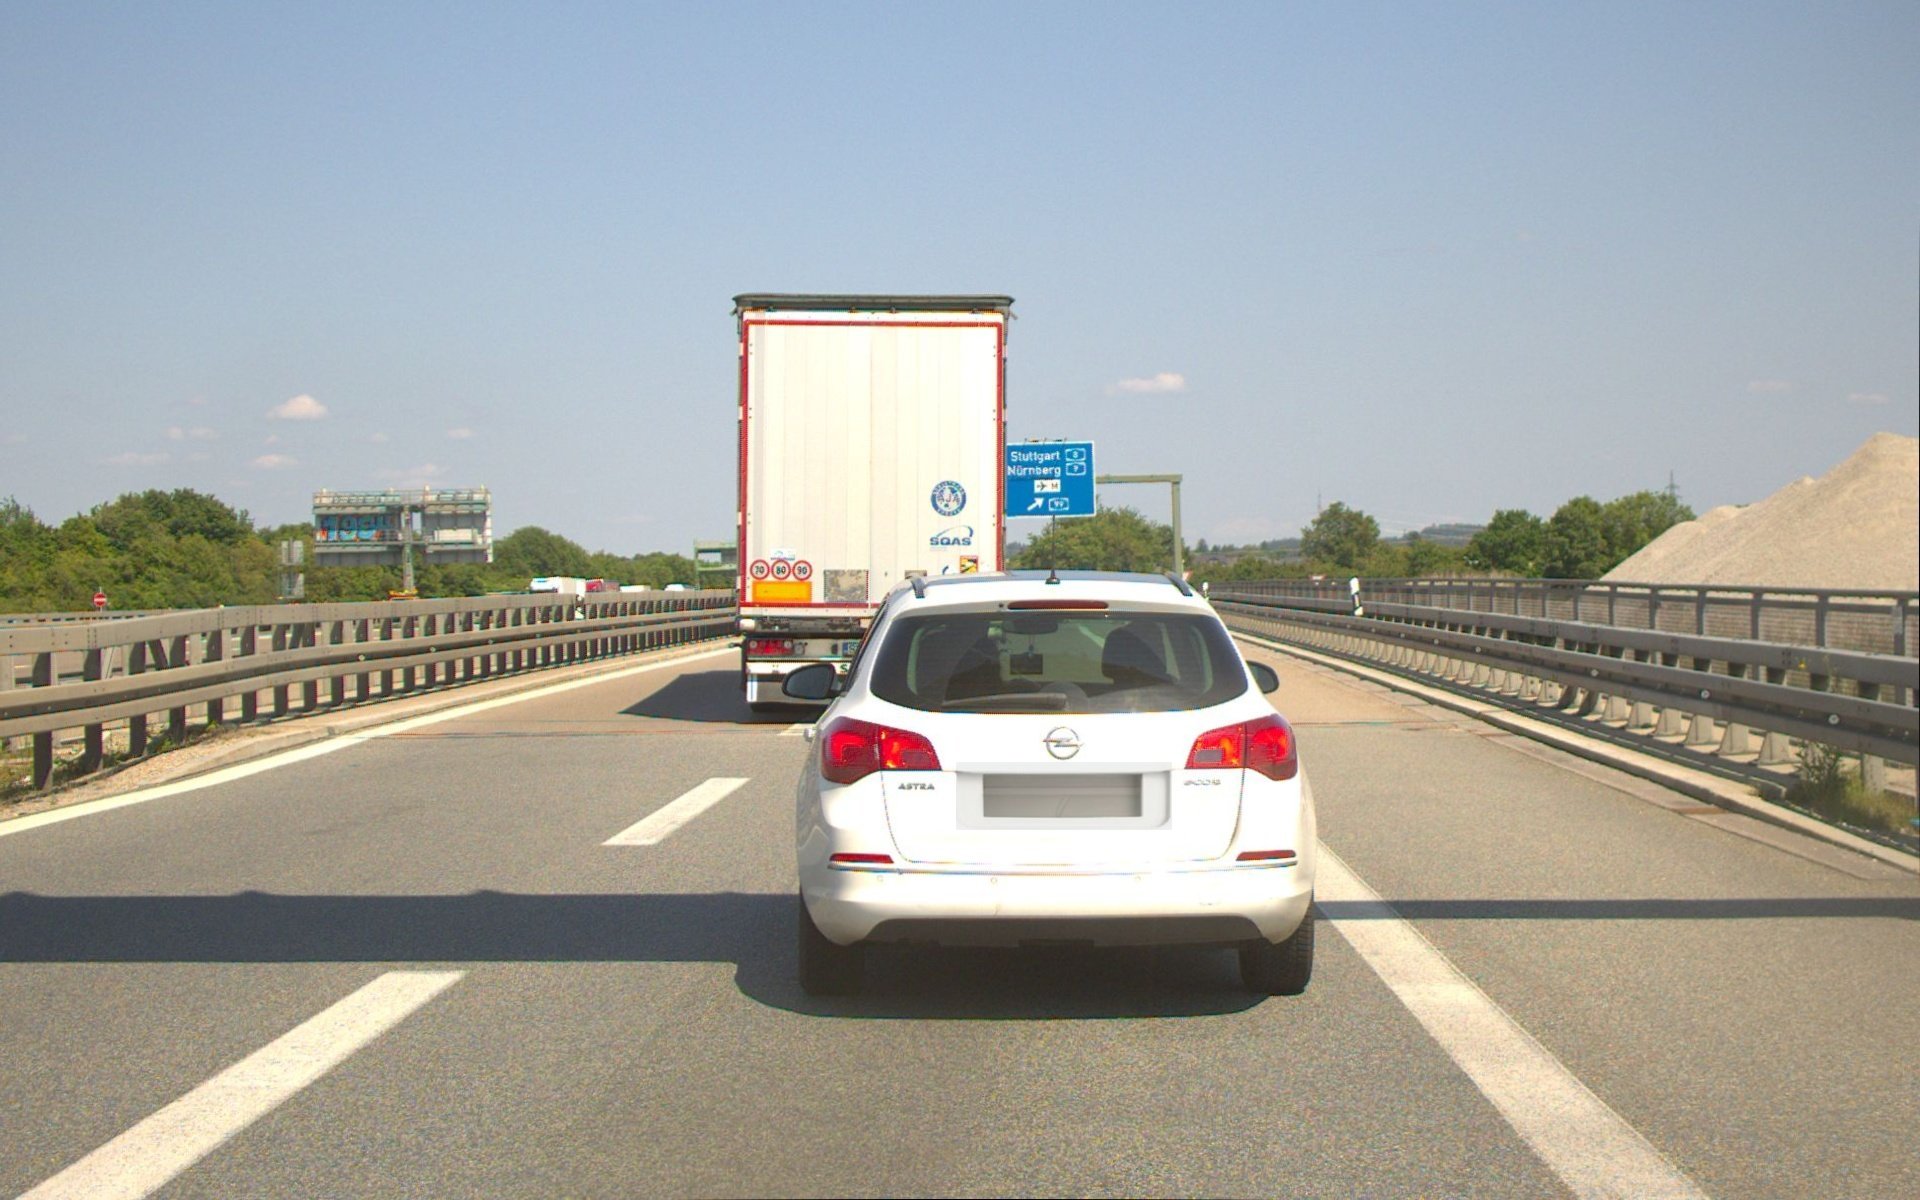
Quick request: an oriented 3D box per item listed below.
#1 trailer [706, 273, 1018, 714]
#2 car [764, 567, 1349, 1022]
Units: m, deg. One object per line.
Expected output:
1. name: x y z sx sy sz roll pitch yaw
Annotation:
1. trailer: -1.020 -0.961 37.908 2.912 4.131 11.258 0 0 -1
2. car: 0.351 0.601 13.078 1.854 1.438 4.372 0 0 1
